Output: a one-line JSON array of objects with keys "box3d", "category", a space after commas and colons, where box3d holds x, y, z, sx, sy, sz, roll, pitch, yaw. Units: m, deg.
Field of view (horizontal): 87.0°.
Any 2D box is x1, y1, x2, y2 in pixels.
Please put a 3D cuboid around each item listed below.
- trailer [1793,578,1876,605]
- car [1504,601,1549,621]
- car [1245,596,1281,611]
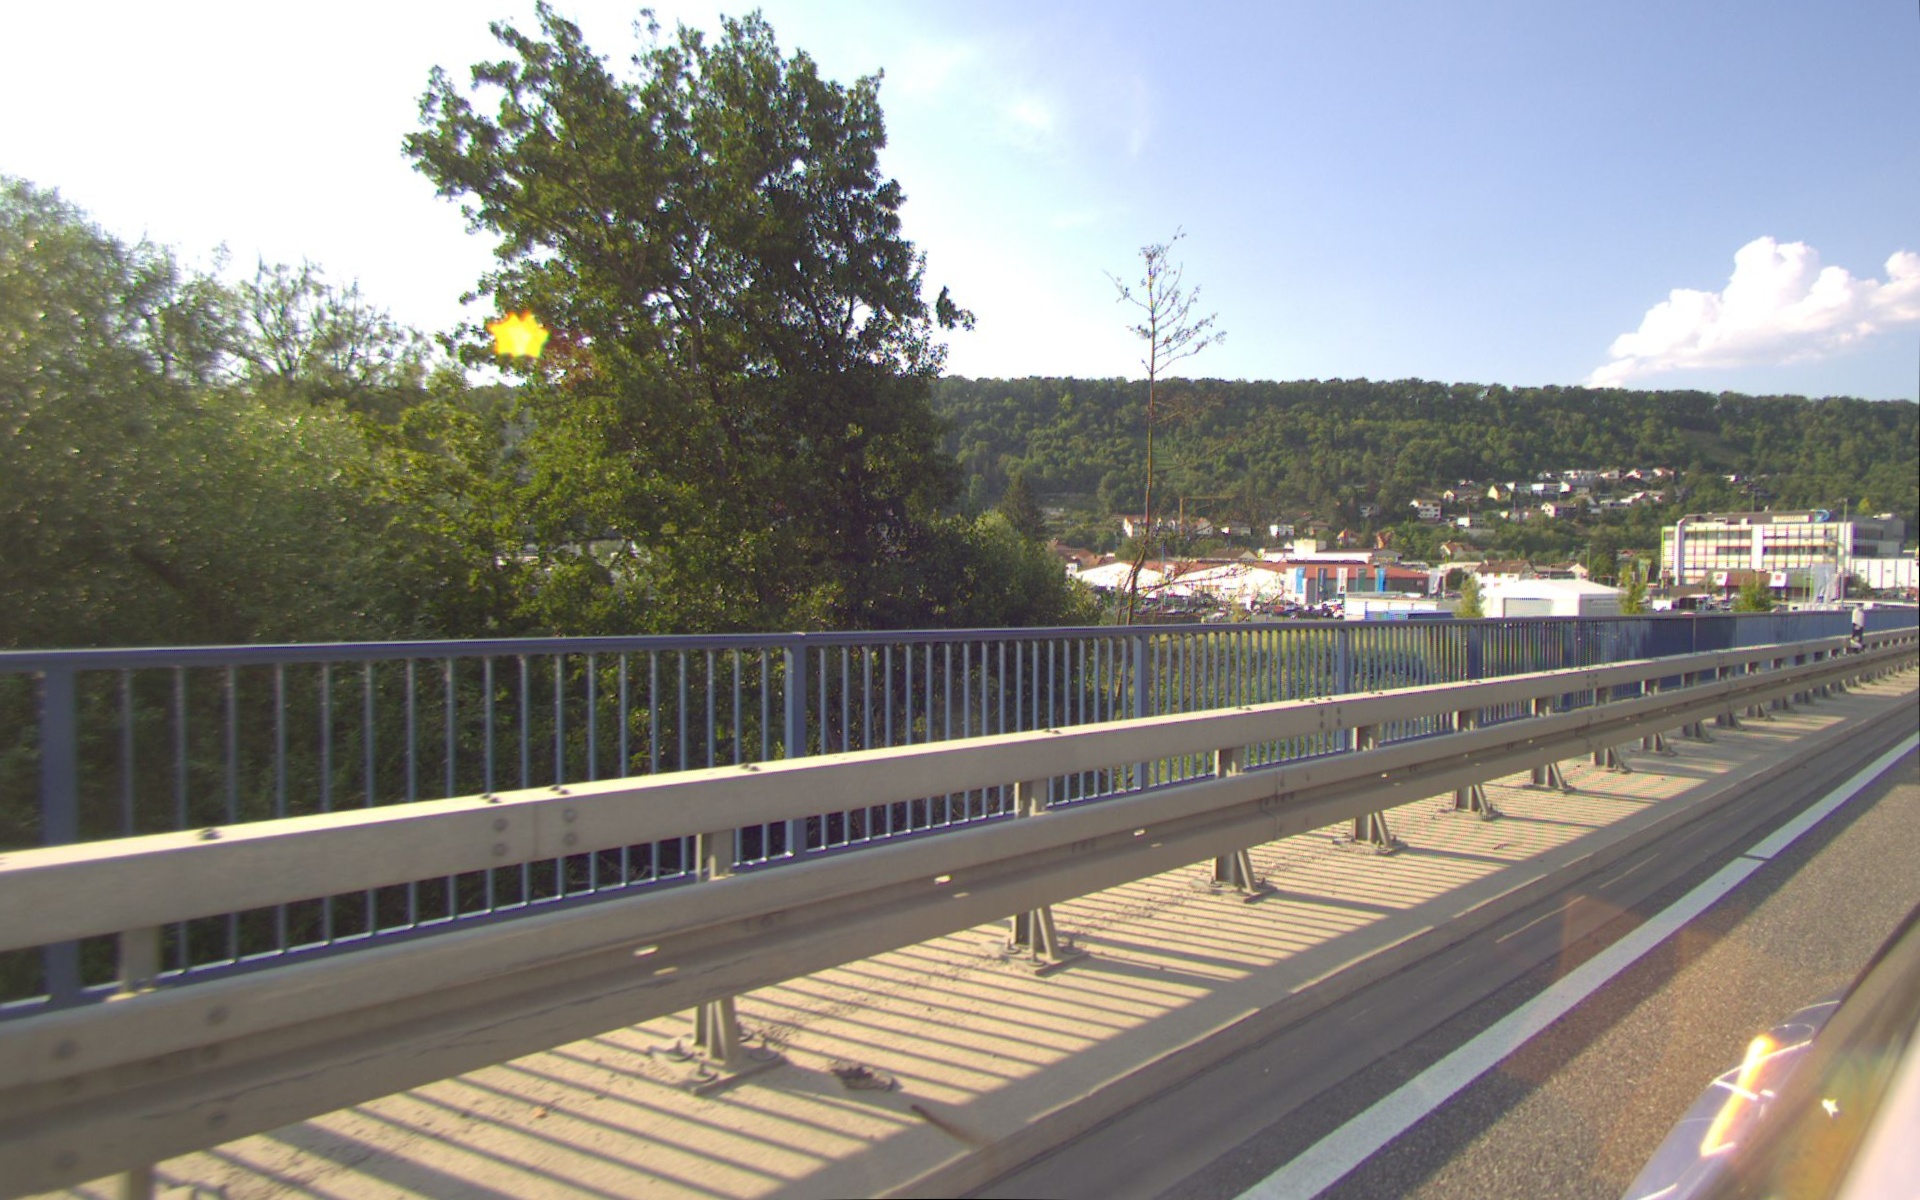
[{"box3d": [116.869, -1.132, 135.320, 3.296, 3.364, 7.902, -2, 1, -36], "category": "trailer"}, {"box3d": [52.549, 1.029, 93.787, 4.642, 1.656, 1.885, -2, 1, -36], "category": "car"}, {"box3d": [35.812, 0.419, 119.501, 3.701, 1.597, 1.756, -2, 1, -19], "category": "car"}]
